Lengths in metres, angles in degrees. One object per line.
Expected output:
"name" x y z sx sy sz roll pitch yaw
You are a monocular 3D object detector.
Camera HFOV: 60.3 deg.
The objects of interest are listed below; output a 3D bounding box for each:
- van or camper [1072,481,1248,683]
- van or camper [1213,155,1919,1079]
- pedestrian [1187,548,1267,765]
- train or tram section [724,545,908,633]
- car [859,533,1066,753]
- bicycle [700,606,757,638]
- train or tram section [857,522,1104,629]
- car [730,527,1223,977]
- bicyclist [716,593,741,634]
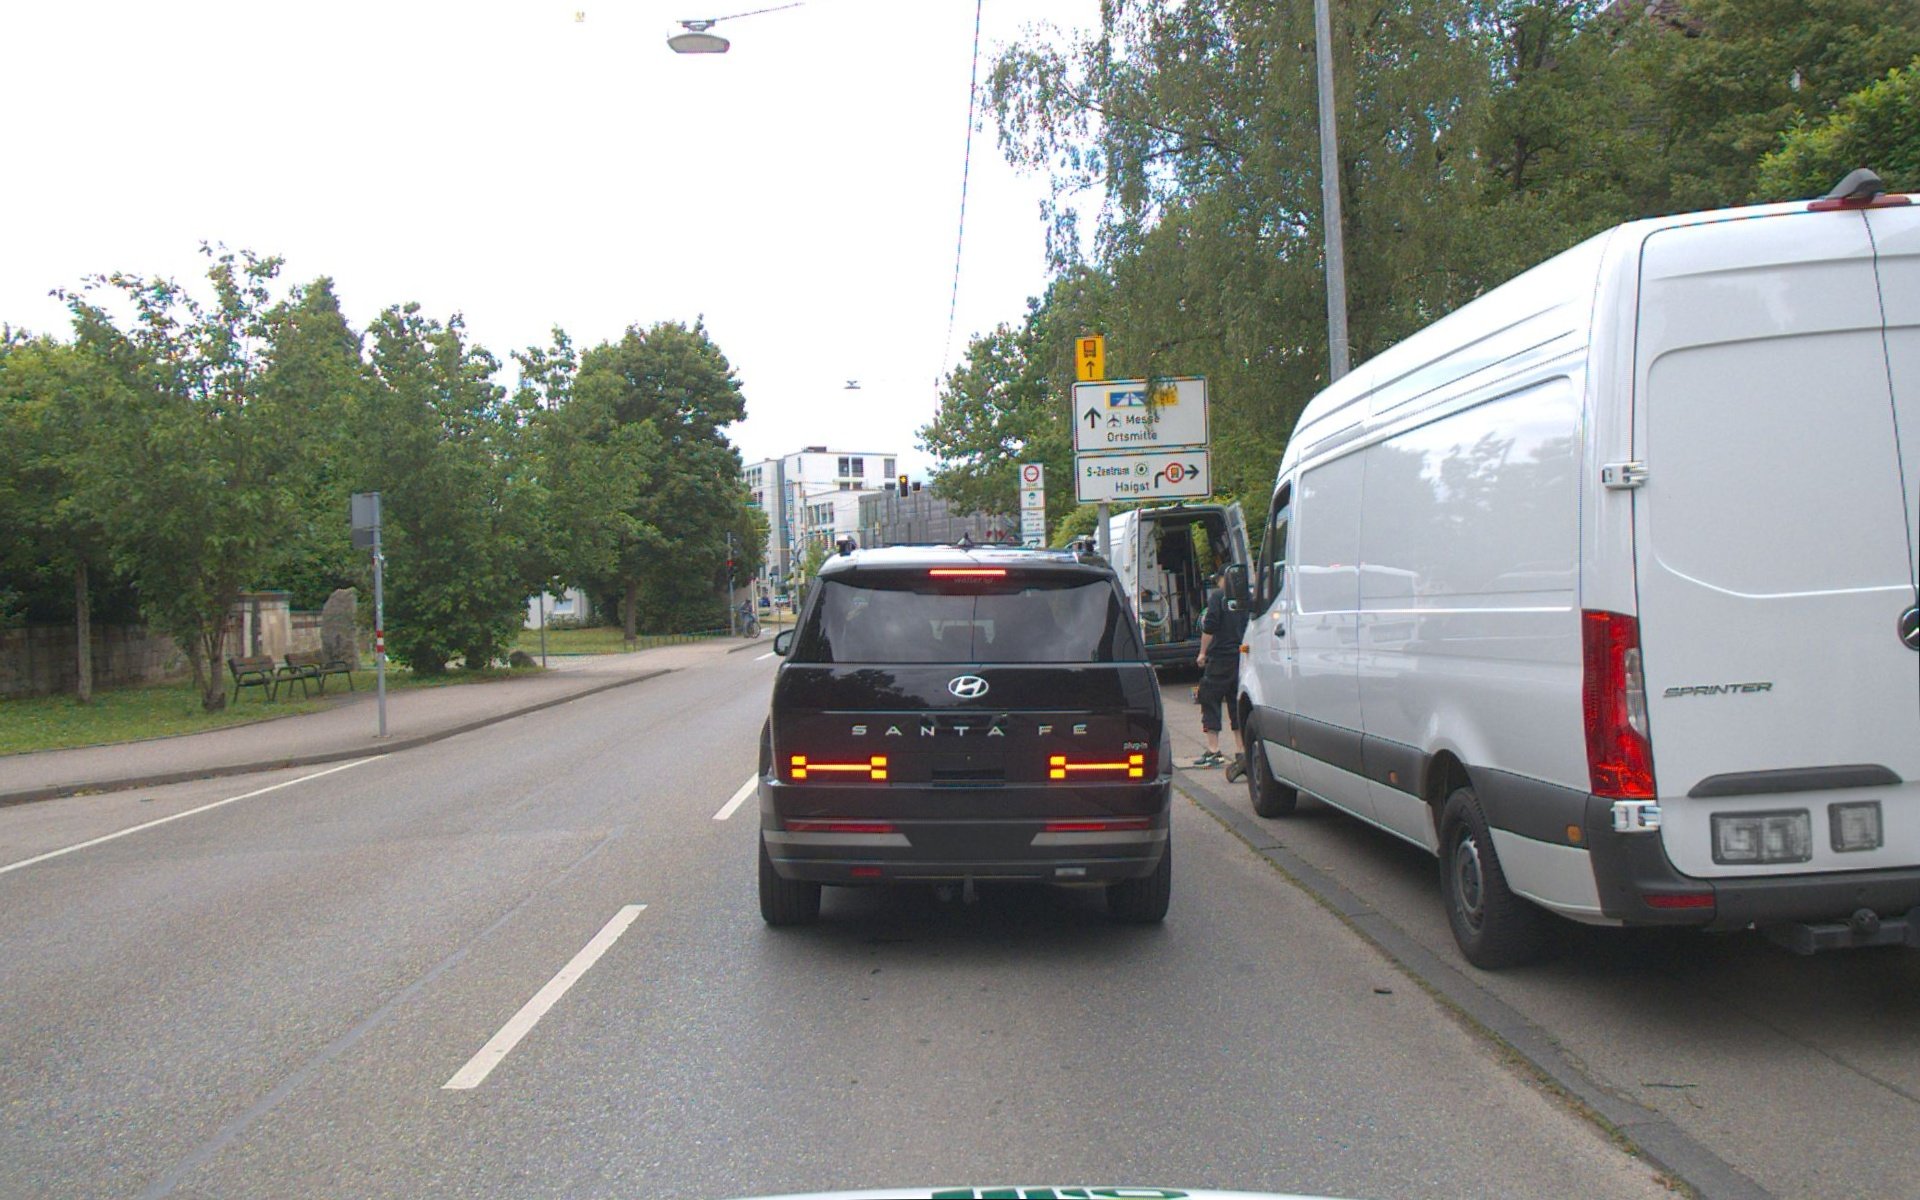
"van or camper" 3.111 -0.268 26.931 1.924 2.845 5.285 -4 0 -2
"van or camper" 2.855 0.000 8.098 1.924 2.673 6.356 -4 0 -2
"pedestrian" 2.231 0.473 13.868 0.591 1.774 0.619 -1 -2 4
"train or tram section" -9.003 -0.452 98.934 3.161 4.602 18.481 1 -2 -31
"car" -0.027 0.394 17.534 1.924 2.036 3.999 -1 0 -2
"bicycle" -9.734 0.933 69.579 2.445 1.302 0.676 -1 -2 28
"train or tram section" 0.510 -0.965 83.204 3.161 4.602 18.482 1 -2 -31
"car" 0.016 0.587 8.506 1.924 1.741 3.999 -1 0 -2
"bicyclist" -9.738 0.577 69.590 0.839 1.688 0.676 -1 -2 28
